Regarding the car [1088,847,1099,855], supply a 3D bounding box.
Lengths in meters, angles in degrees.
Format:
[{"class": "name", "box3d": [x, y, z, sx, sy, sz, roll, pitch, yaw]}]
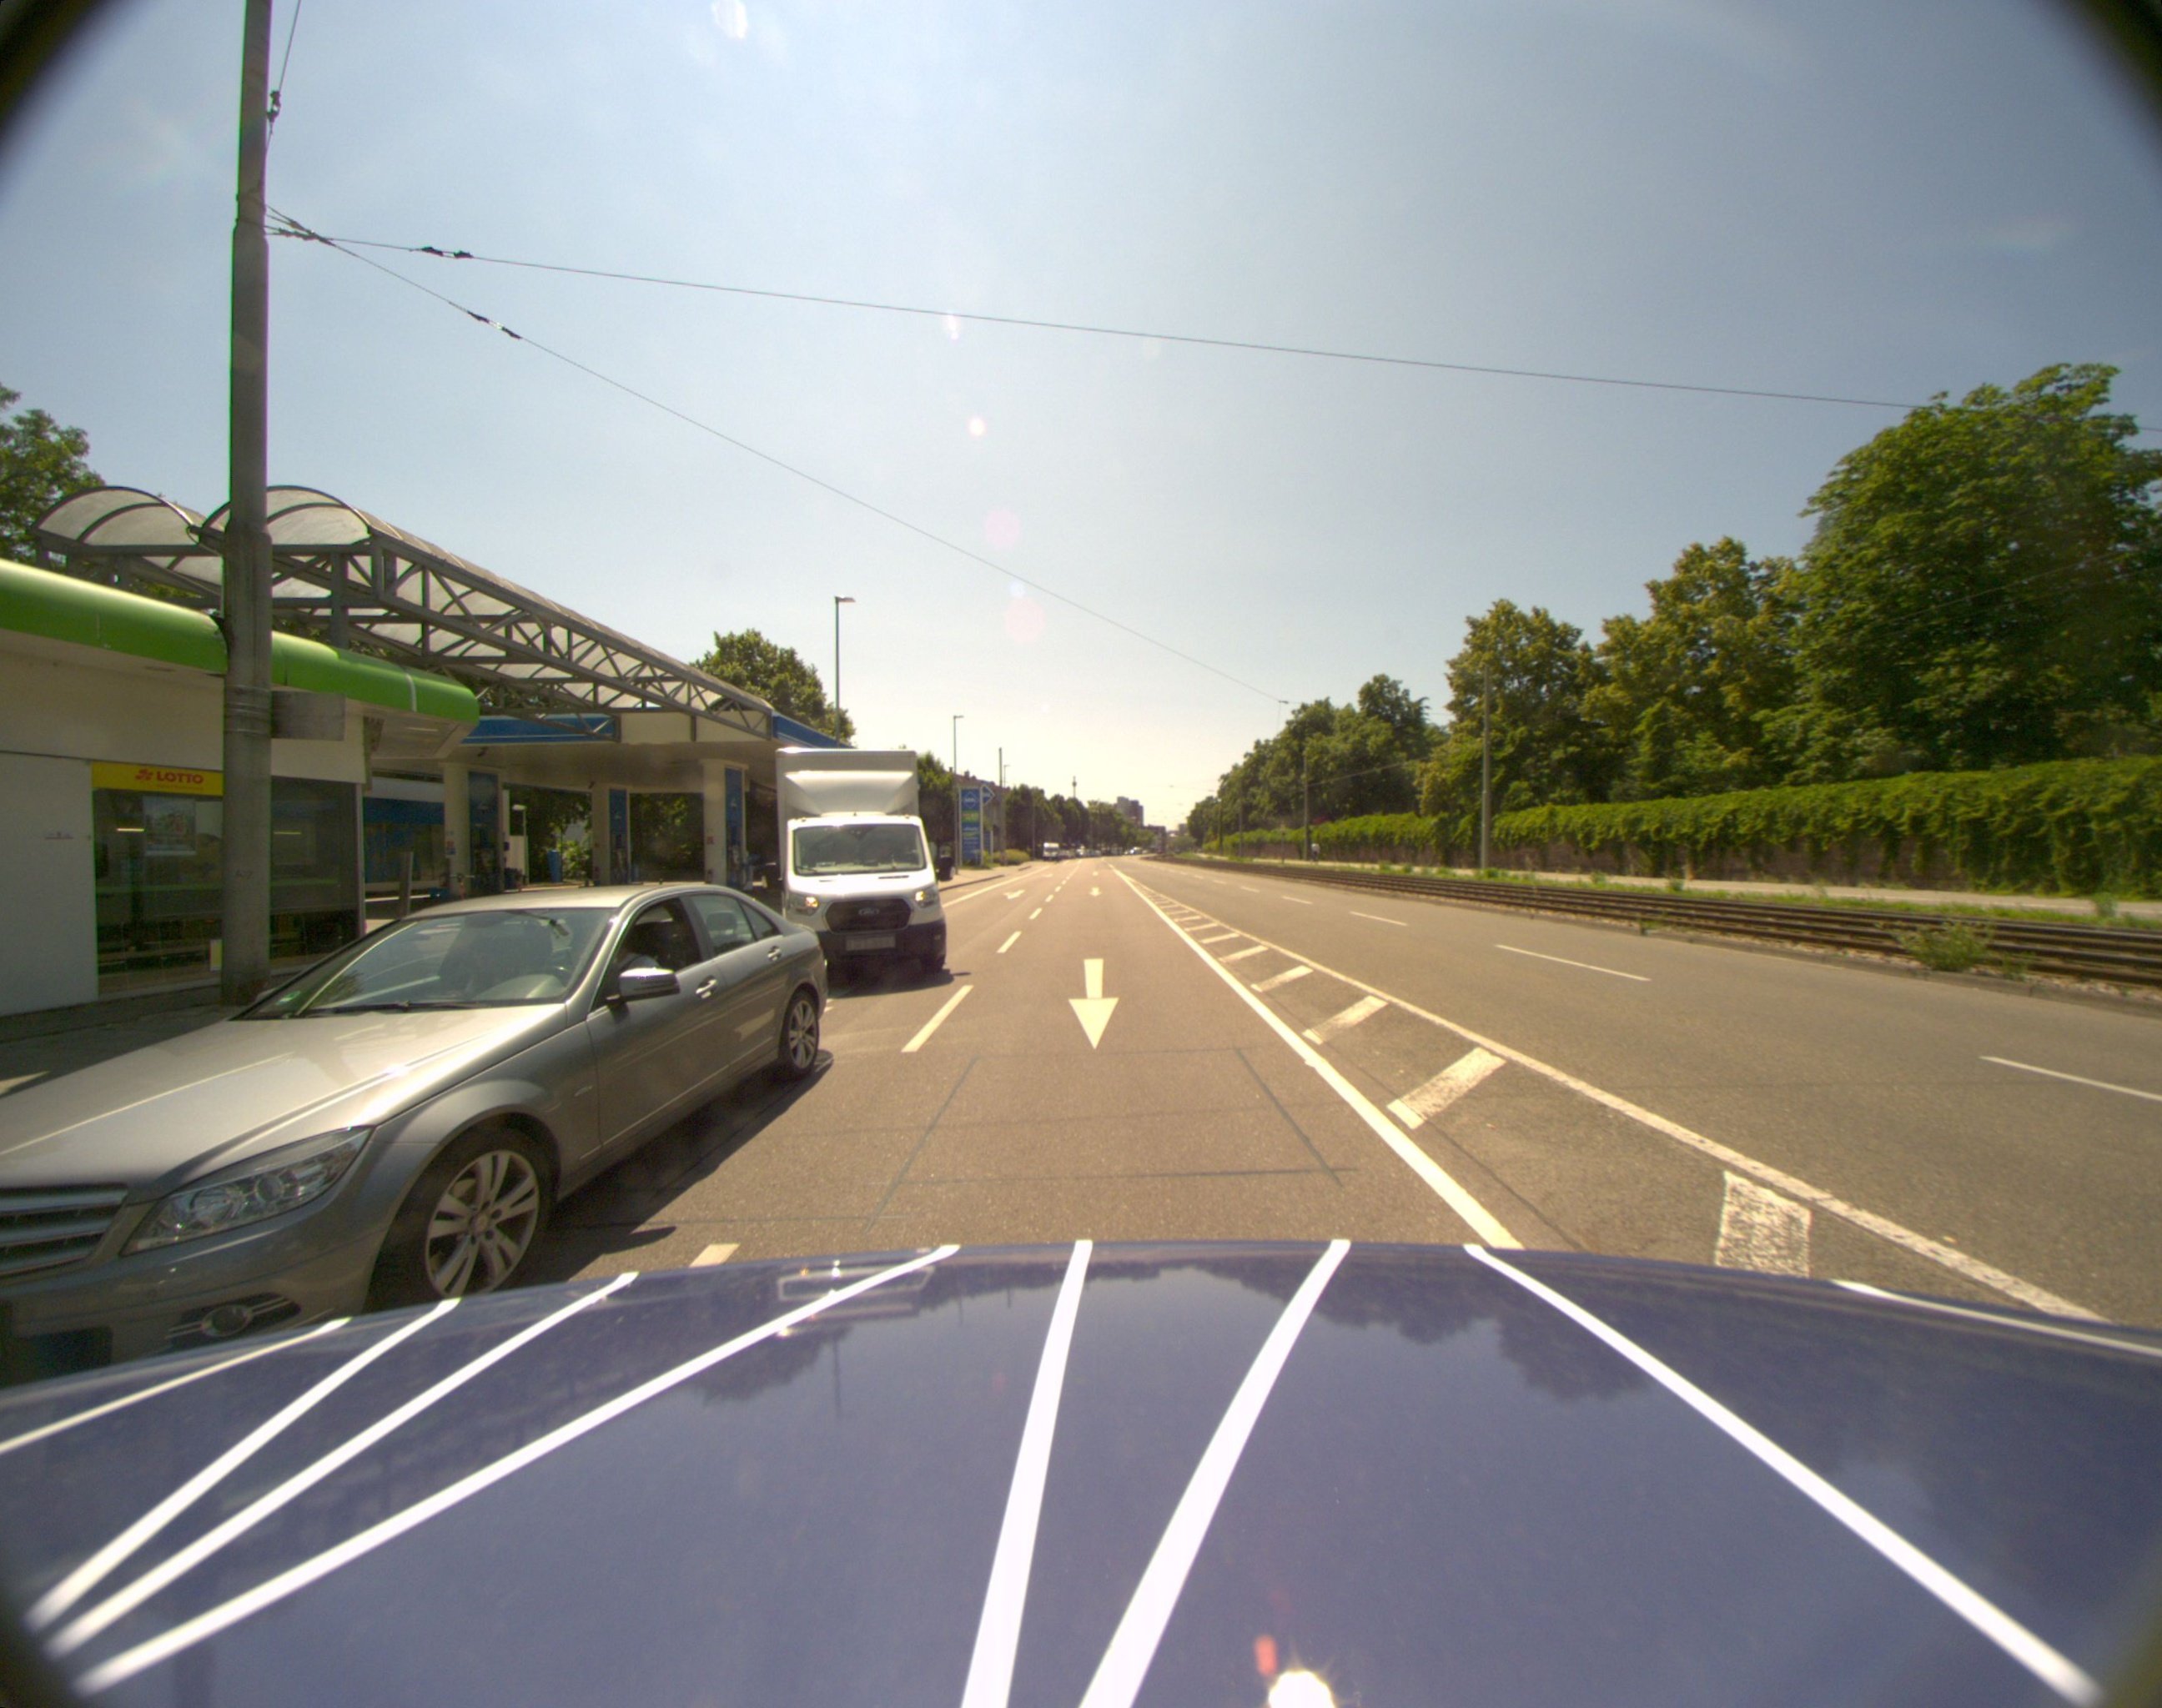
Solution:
[{"class": "car", "box3d": [2.911, -0.678, 172.973, 1.911, 1.488, 4.002, -2, 1, 10]}]

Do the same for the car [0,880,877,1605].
[{"class": "car", "box3d": [-2.851, 1.021, 4.409, 1.717, 1.464, 5.302, -3, 0, 1]}]

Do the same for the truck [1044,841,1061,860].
[{"class": "truck", "box3d": [-3.801, -0.534, 102.413, 1.998, 2.462, 5.237, -2, 1, 1]}]

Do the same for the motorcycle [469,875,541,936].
[{"class": "motorcycle", "box3d": [-11.623, 1.030, 15.347, 1.157, 1.203, 0.364, 1, 0, -1]}]

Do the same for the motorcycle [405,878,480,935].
[{"class": "motorcycle", "box3d": [-12.869, 1.045, 15.329, 1.157, 1.107, 0.396, 1, 0, -1]}]

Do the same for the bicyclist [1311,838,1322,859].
[{"class": "bicyclist", "box3d": [18.225, -0.397, 58.782, 0.483, 1.603, 0.768, -2, 1, -3]}]

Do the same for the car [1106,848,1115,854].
[{"class": "car", "box3d": [8.024, -0.924, 204.043, 1.911, 1.488, 4.002, -2, 1, 10]}]

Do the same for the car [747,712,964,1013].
[{"class": "car", "box3d": [-3.915, 0.057, 12.802, 2.232, 3.316, 8.621, -3, 1, -19]}]

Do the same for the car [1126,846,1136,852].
[{"class": "car", "box3d": [13.471, -1.377, 204.654, 1.945, 1.674, 4.002, -2, 1, 10]}]

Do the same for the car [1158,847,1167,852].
[{"class": "car", "box3d": [26.199, -1.409, 243.368, 1.799, 1.488, 3.968, -2, 0, 20]}]

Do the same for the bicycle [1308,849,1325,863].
[{"class": "bicycle", "box3d": [18.255, 0.161, 58.952, 0.618, 1.049, 1.977, -2, 1, -2]}]

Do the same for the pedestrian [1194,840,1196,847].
[{"class": "pedestrian", "box3d": [26.969, -2.478, 179.450, 0.453, 1.655, 0.302, -2, 0, 1]}]

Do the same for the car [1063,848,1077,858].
[{"class": "car", "box3d": [-1.856, -0.223, 127.458, 1.912, 1.488, 4.000, -2, 1, 4]}]
